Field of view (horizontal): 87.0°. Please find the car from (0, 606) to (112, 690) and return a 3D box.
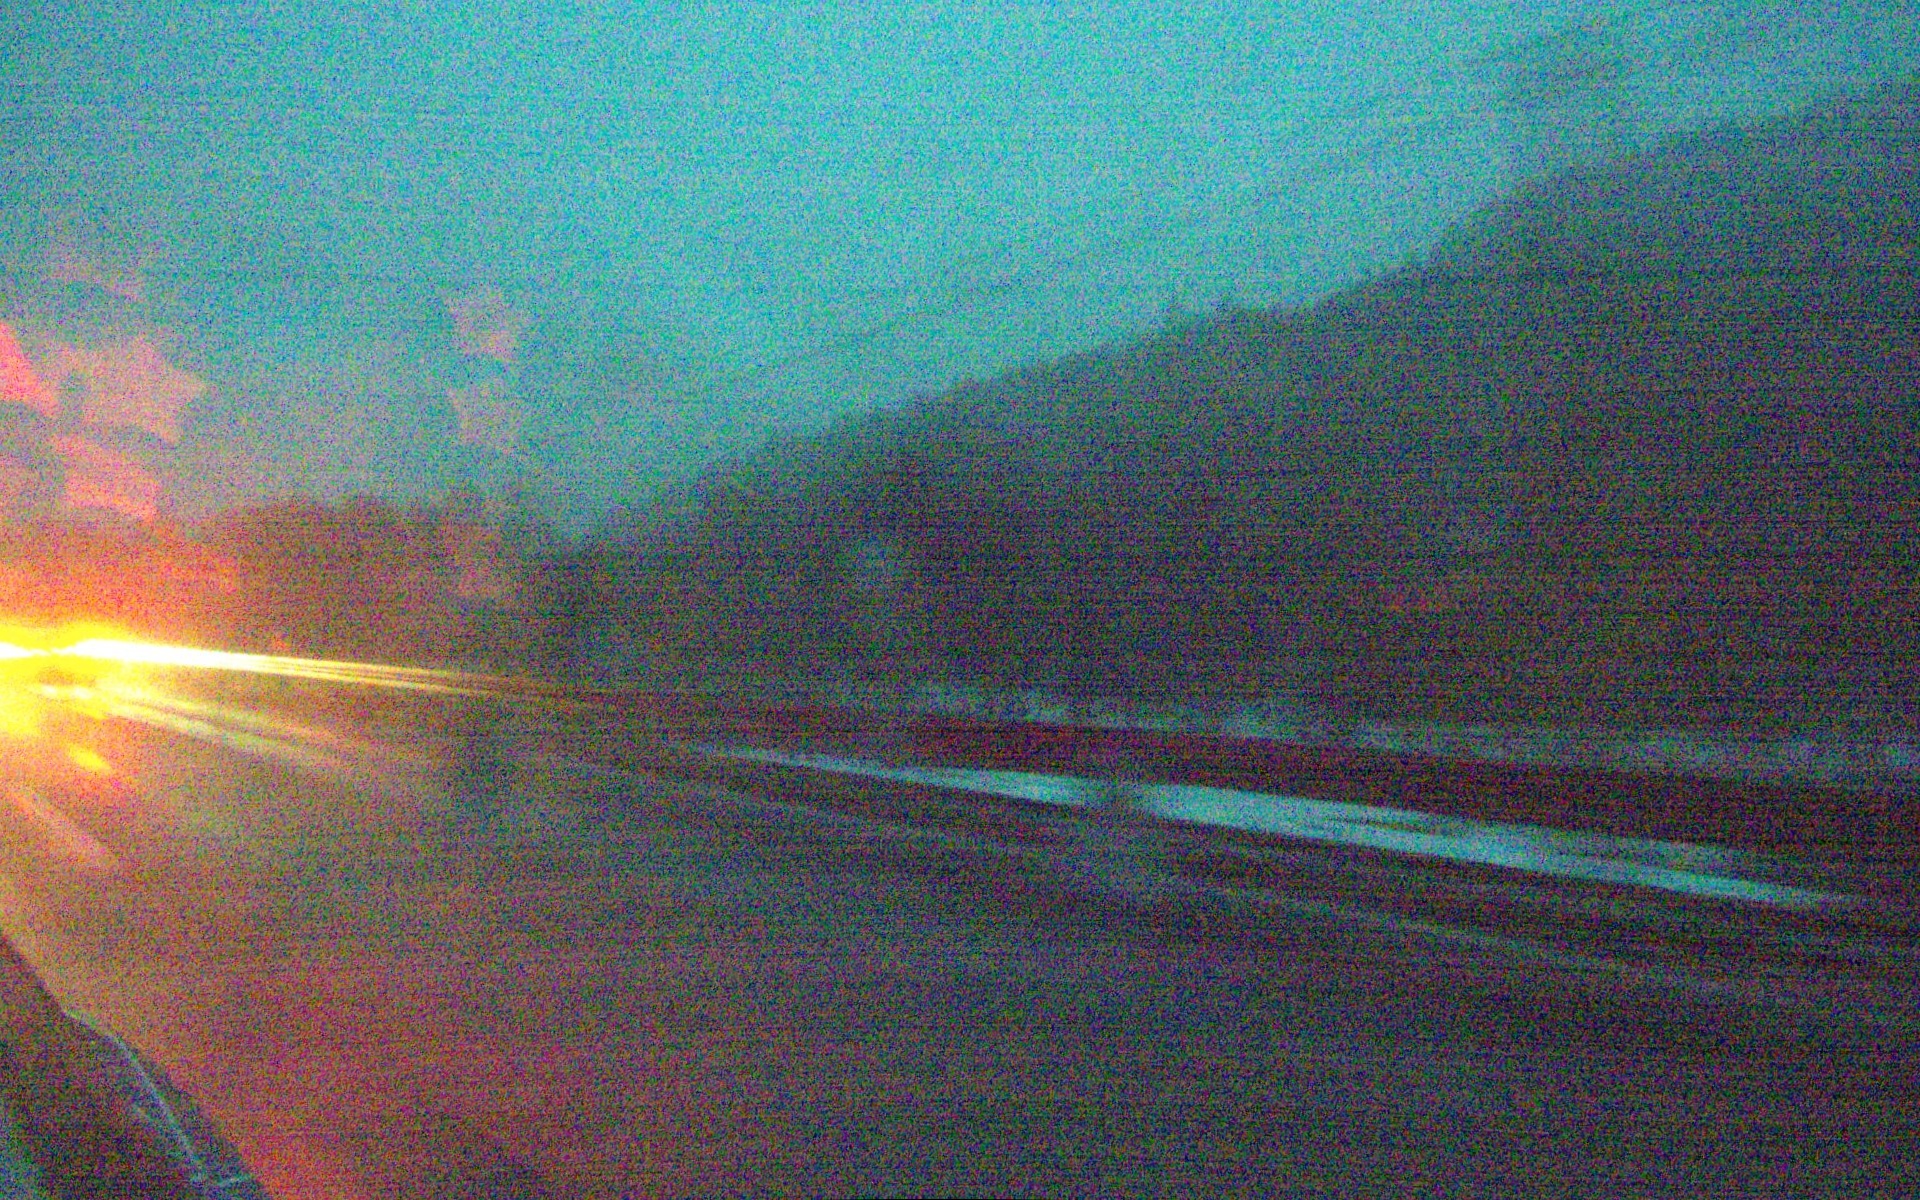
[{"bbox_3d":[-18.455,0.894,19.976,4.427,1.459,1.973,-1,0,41],"label":"car"}]
